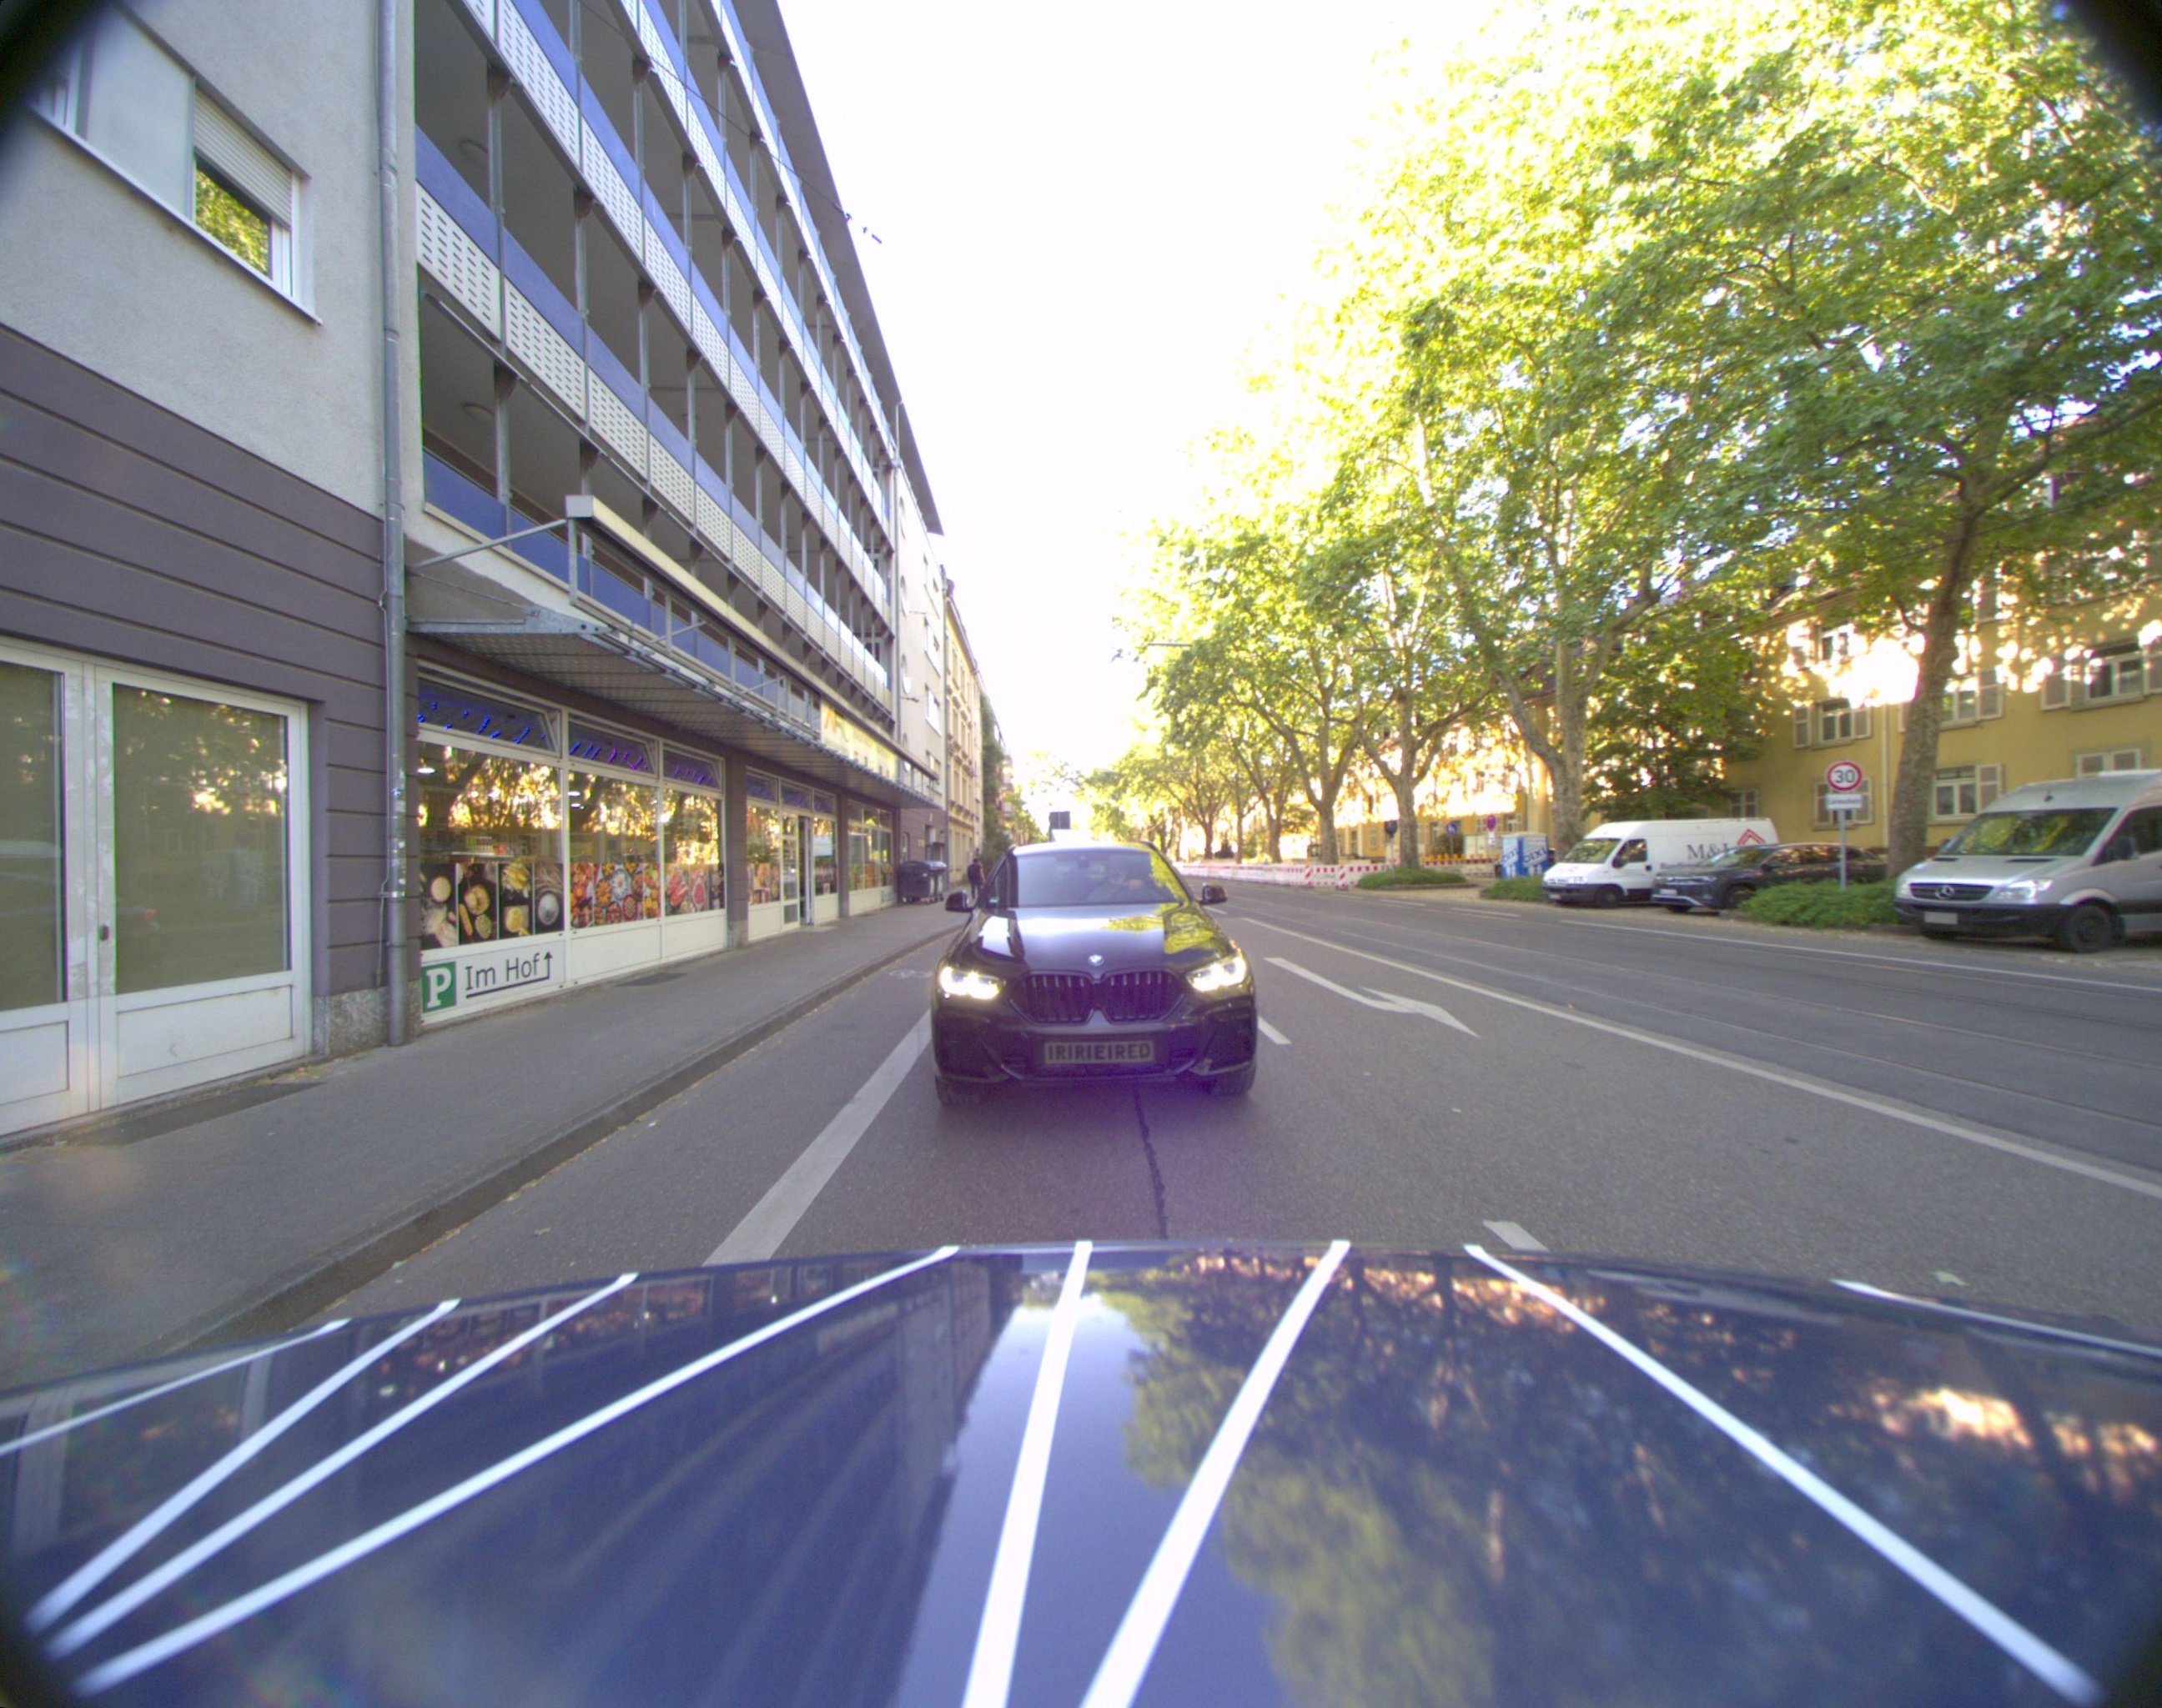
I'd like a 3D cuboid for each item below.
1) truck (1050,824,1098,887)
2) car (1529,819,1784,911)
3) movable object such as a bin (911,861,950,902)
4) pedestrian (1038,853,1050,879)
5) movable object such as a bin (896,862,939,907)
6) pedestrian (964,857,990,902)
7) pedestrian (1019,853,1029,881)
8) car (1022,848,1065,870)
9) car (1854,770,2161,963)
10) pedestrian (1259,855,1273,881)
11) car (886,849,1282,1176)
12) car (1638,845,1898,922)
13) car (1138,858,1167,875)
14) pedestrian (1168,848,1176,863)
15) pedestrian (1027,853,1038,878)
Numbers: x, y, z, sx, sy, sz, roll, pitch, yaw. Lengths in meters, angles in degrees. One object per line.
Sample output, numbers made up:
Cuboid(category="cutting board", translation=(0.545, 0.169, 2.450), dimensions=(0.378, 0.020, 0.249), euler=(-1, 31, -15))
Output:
Cuboid(category="truck", translation=(-0.314, 0.122, 42.170), dimensions=(2.394, 3.170, 6.587), euler=(-1, 0, 1))
Cuboid(category="car", translation=(15.846, 0.293, 21.150), dimensions=(5.404, 2.362, 2.223), euler=(-1, 0, 0))
Cuboid(category="movable object such as a bin", translation=(-5.282, 0.953, 26.687), dimensions=(1.158, 1.418, 0.939), euler=(-1, 0, 1))
Cuboid(category="pedestrian", translation=(-2.745, 0.856, 56.362), dimensions=(0.733, 1.875, 0.664), euler=(-2, 1, -1))
Cuboid(category="movable object such as a bin", translation=(-5.282, 0.975, 24.649), dimensions=(1.158, 1.418, 0.939), euler=(-1, 0, 1))
Cuboid(category="pedestrian", translation=(-3.711, 0.903, 27.197), dimensions=(0.864, 1.582, 0.622), euler=(-1, 0, -5))
Cuboid(category="pedestrian", translation=(-3.907, 0.887, 51.960), dimensions=(0.600, 1.875, 0.581), euler=(-2, 1, -1))
Cuboid(category="car", translation=(-4.692, 0.574, 94.830), dimensions=(4.992, 2.593, 2.180), euler=(-1, 0, -18))
Cuboid(category="car", translation=(15.986, 0.131, 11.861), dimensions=(5.666, 2.666, 2.223), euler=(-2, 0, -2))
Cuboid(category="pedestrian", translation=(12.358, 0.943, 50.718), dimensions=(0.650, 1.735, 0.584), euler=(-1, 2, 41))
Cuboid(category="car", translation=(0.043, 0.821, 6.025), dimensions=(1.998, 1.643, 4.295), euler=(-1, 0, 1))
Cuboid(category="car", translation=(16.079, 0.660, 17.943), dimensions=(4.627, 1.642, 1.774), euler=(-1, 0, -2))
Cuboid(category="car", translation=(6.720, 1.146, 71.811), dimensions=(2.022, 1.556, 4.490), euler=(-1, 0, -3))
Cuboid(category="pedestrian", translation=(11.323, 0.215, 94.713), dimensions=(0.666, 1.875, 0.731), euler=(-3, 1, -36))
Cuboid(category="pedestrian", translation=(-3.619, 0.855, 56.711), dimensions=(0.733, 1.875, 0.664), euler=(-2, 1, -1))
